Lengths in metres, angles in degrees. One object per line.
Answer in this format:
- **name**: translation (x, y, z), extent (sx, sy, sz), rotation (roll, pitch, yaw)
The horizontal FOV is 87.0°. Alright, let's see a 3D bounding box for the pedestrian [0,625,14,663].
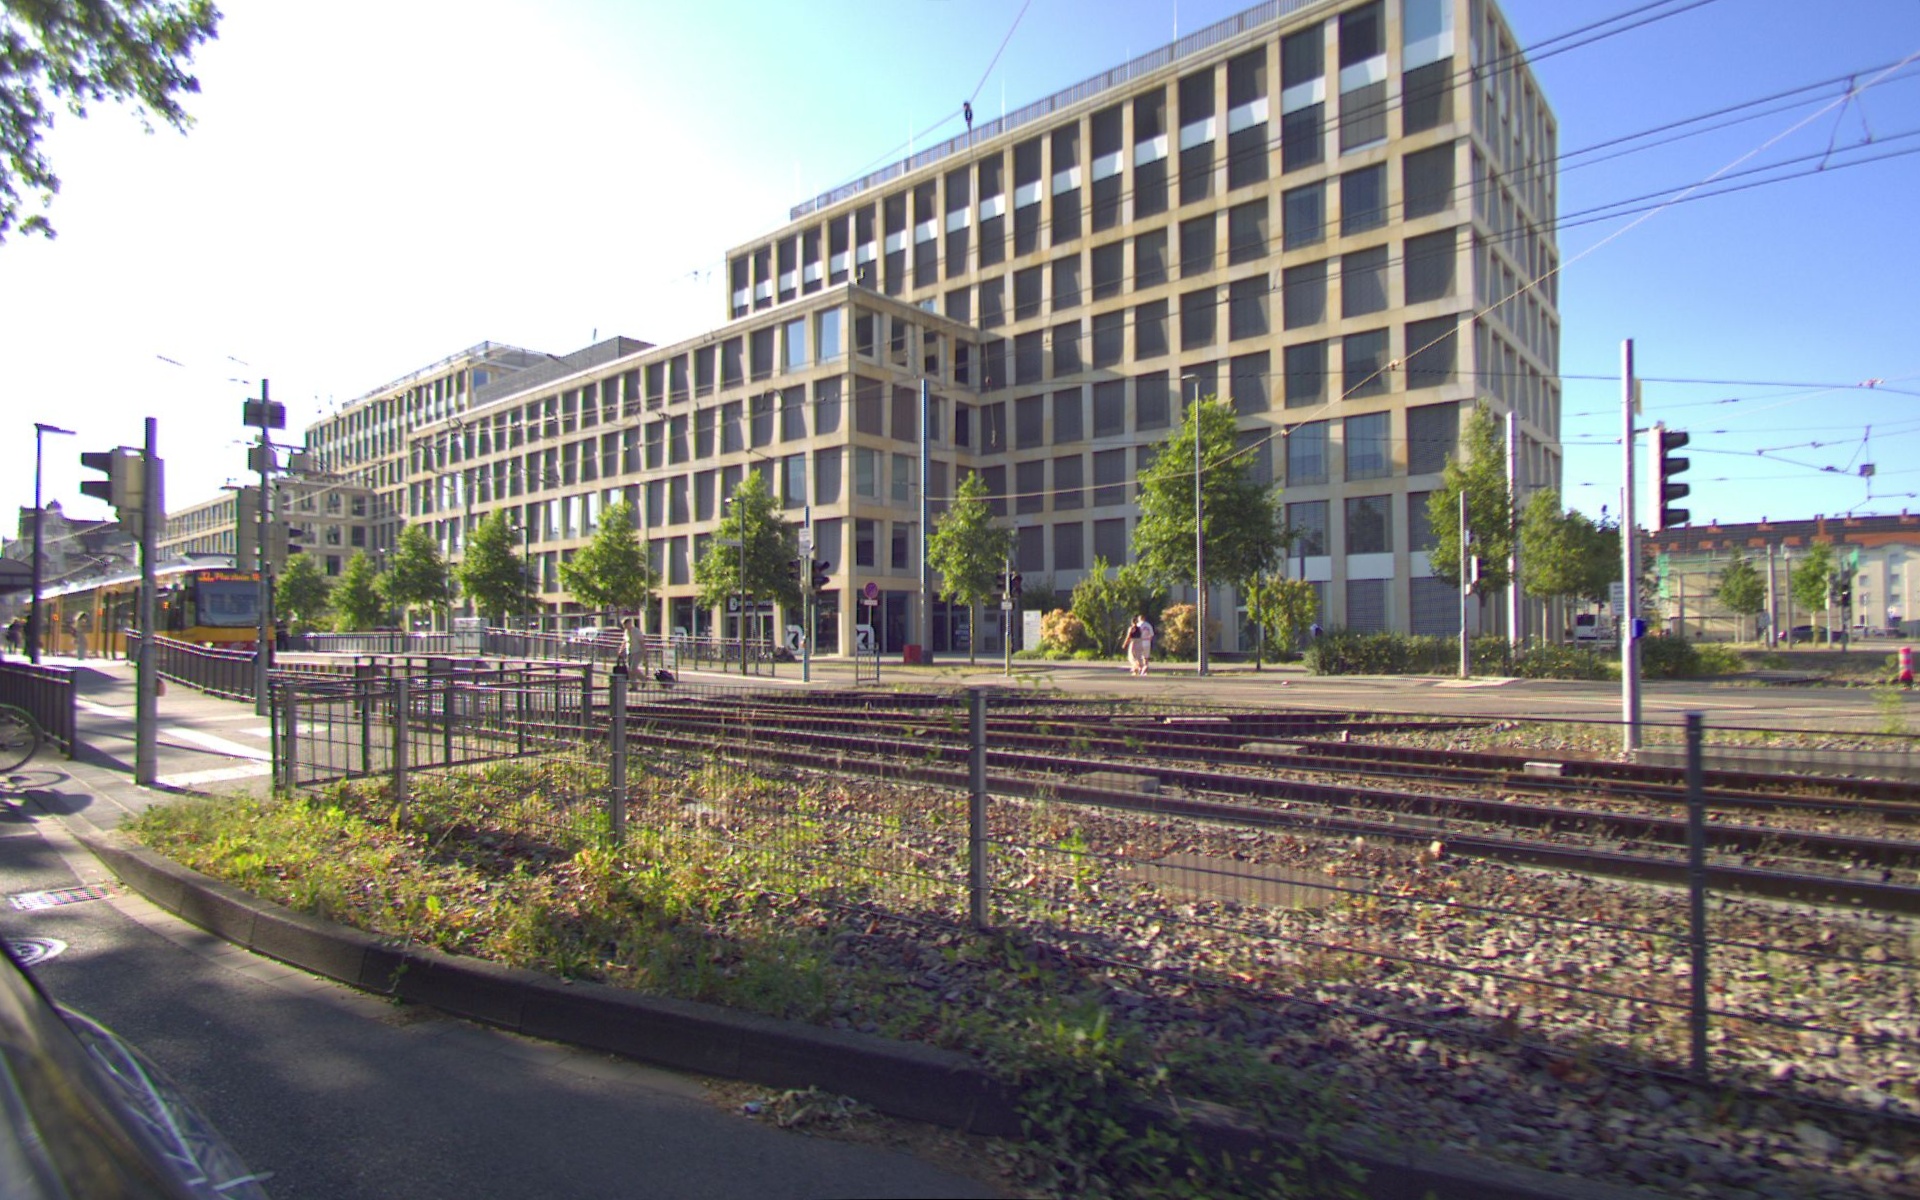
- **pedestrian**: translation (-45.882, 2.086, 48.451), extent (0.625, 1.798, 0.785), rotation (-2, -2, 41)

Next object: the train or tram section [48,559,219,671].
- **train or tram section**: translation (-32.805, 0.702, 39.901), extent (11.836, 3.858, 3.275), rotation (-2, -2, 41)

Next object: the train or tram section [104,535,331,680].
- **train or tram section**: translation (-23.848, 0.378, 32.118), extent (11.836, 3.858, 3.275), rotation (-2, -2, 41)

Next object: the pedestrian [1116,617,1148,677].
- **pedestrian**: translation (5.097, 1.383, 29.944), extent (0.670, 1.730, 0.657), rotation (-2, -2, 39)

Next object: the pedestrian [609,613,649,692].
- **pedestrian**: translation (-7.443, 1.166, 22.757), extent (0.660, 1.730, 0.726), rotation (0, -2, -37)

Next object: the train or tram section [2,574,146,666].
- **train or tram section**: translation (-42.702, 1.053, 48.491), extent (14.210, 3.858, 3.275), rotation (-2, -2, 41)

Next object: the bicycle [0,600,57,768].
- **bicycle**: translation (-10.440, 0.865, 10.206), extent (0.591, 1.730, 1.945), rotation (-2, -2, 43)

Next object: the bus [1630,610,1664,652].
- **bus**: translation (56.624, 2.493, 83.354), extent (1.908, 3.164, 7.607), rotation (-2, -1, 37)

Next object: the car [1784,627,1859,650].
- **car**: translation (62.076, 2.787, 72.989), extent (3.998, 1.559, 1.722), rotation (-2, -1, 41)

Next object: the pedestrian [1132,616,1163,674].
- **pedestrian**: translation (5.699, 1.346, 30.696), extent (0.670, 1.730, 0.657), rotation (-2, -2, 39)
